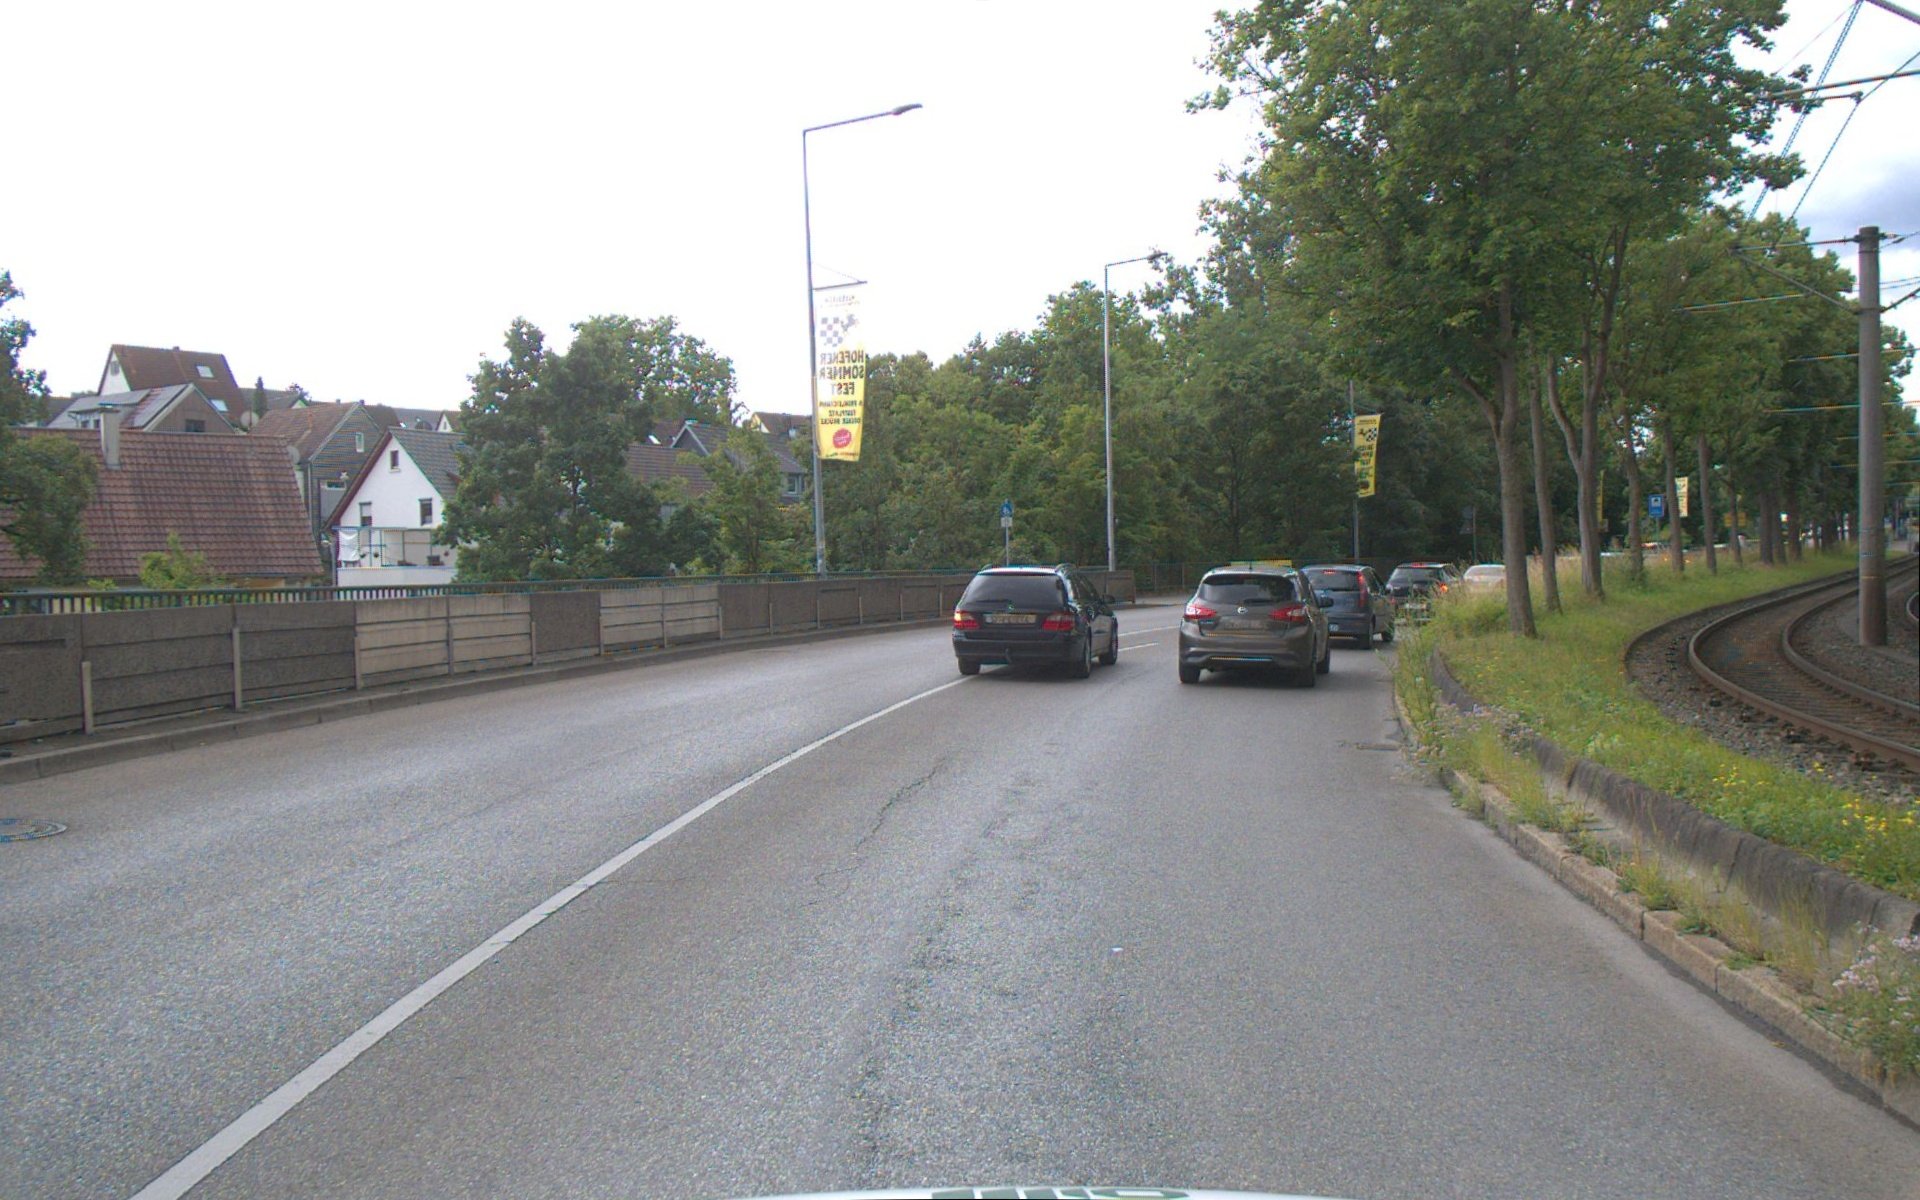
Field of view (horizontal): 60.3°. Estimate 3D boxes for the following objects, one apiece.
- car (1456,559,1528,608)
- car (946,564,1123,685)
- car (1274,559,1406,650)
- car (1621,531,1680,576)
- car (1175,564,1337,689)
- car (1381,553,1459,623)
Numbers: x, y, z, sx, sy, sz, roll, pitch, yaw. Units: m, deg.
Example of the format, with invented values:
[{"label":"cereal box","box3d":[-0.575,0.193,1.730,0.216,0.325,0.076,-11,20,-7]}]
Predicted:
[{"label":"car","box3d":[15.821,-0.499,49.124,1.471,1.388,3.583,-1,0,27]},{"label":"car","box3d":[1.153,0.271,23.319,1.812,1.512,4.425,1,1,11]},{"label":"car","box3d":[7.260,0.062,31.346,1.854,1.601,4.000,0,1,22]},{"label":"car","box3d":[30.916,-2.051,74.027,1.893,1.892,3.992,-1,0,31]},{"label":"car","box3d":[4.130,0.299,22.600,1.737,1.520,4.003,1,1,16]},{"label":"car","box3d":[11.072,-0.295,39.685,1.545,1.565,4.002,-1,0,19]}]
